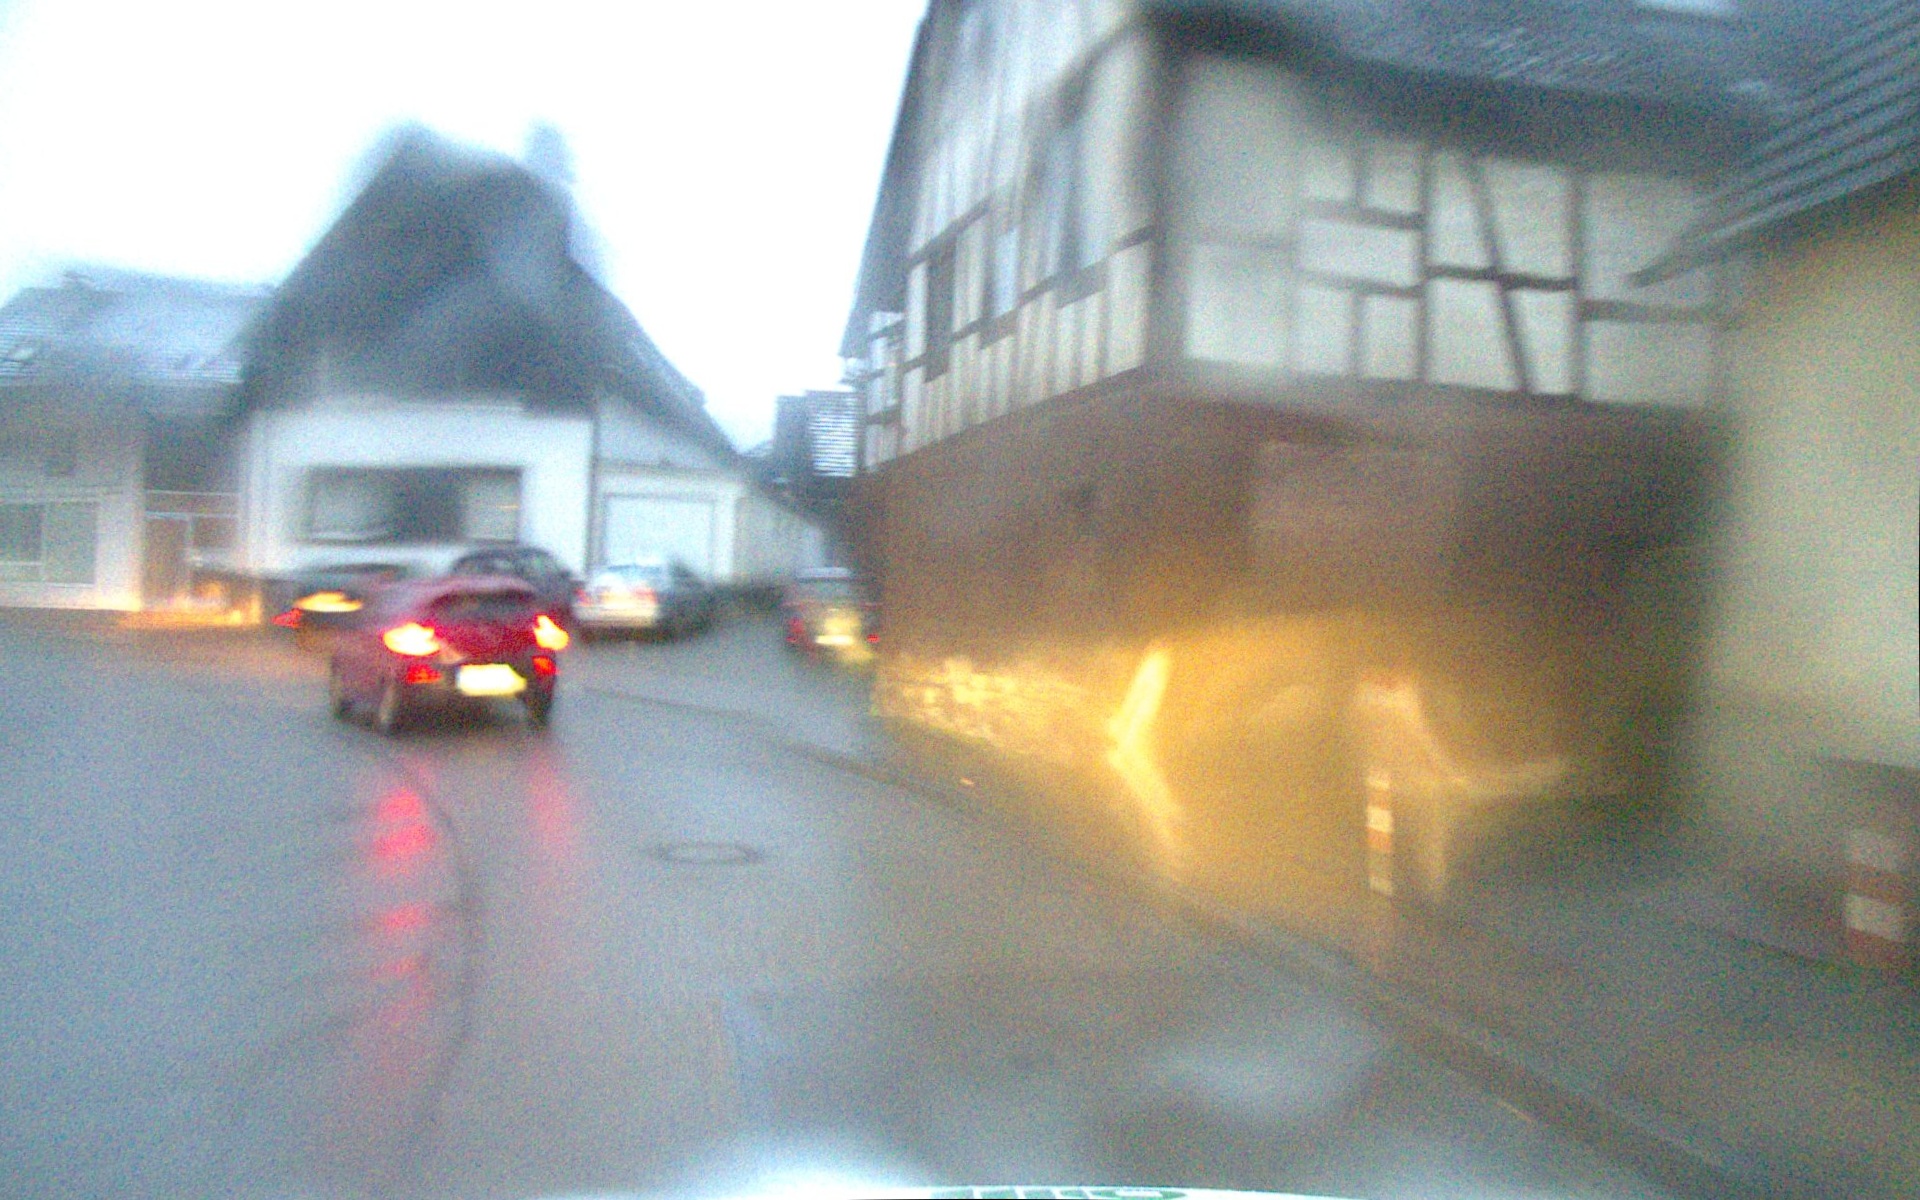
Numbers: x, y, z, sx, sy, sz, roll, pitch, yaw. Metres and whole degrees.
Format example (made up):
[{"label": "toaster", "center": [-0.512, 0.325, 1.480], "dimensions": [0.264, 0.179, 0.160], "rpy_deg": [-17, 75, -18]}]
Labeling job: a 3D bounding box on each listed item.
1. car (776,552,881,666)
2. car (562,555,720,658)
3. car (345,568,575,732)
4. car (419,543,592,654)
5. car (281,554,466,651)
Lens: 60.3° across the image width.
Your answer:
[{"label": "car", "center": [-2.144, 0.073, 27.049], "dimensions": [1.561, 1.541, 3.982], "rpy_deg": [-1, 4, -4]}, {"label": "car", "center": [-5.398, 0.050, 28.512], "dimensions": [1.772, 1.445, 4.041], "rpy_deg": [-1, 4, 2]}, {"label": "car", "center": [-5.237, 0.452, 17.034], "dimensions": [1.529, 1.491, 3.664], "rpy_deg": [2, 0, -28]}, {"label": "car", "center": [-8.134, -0.101, 30.036], "dimensions": [1.811, 1.689, 4.479], "rpy_deg": [-1, 4, 1]}, {"label": "car", "center": [-10.636, -0.011, 30.306], "dimensions": [1.843, 1.474, 3.897], "rpy_deg": [-1, 4, 2]}]
